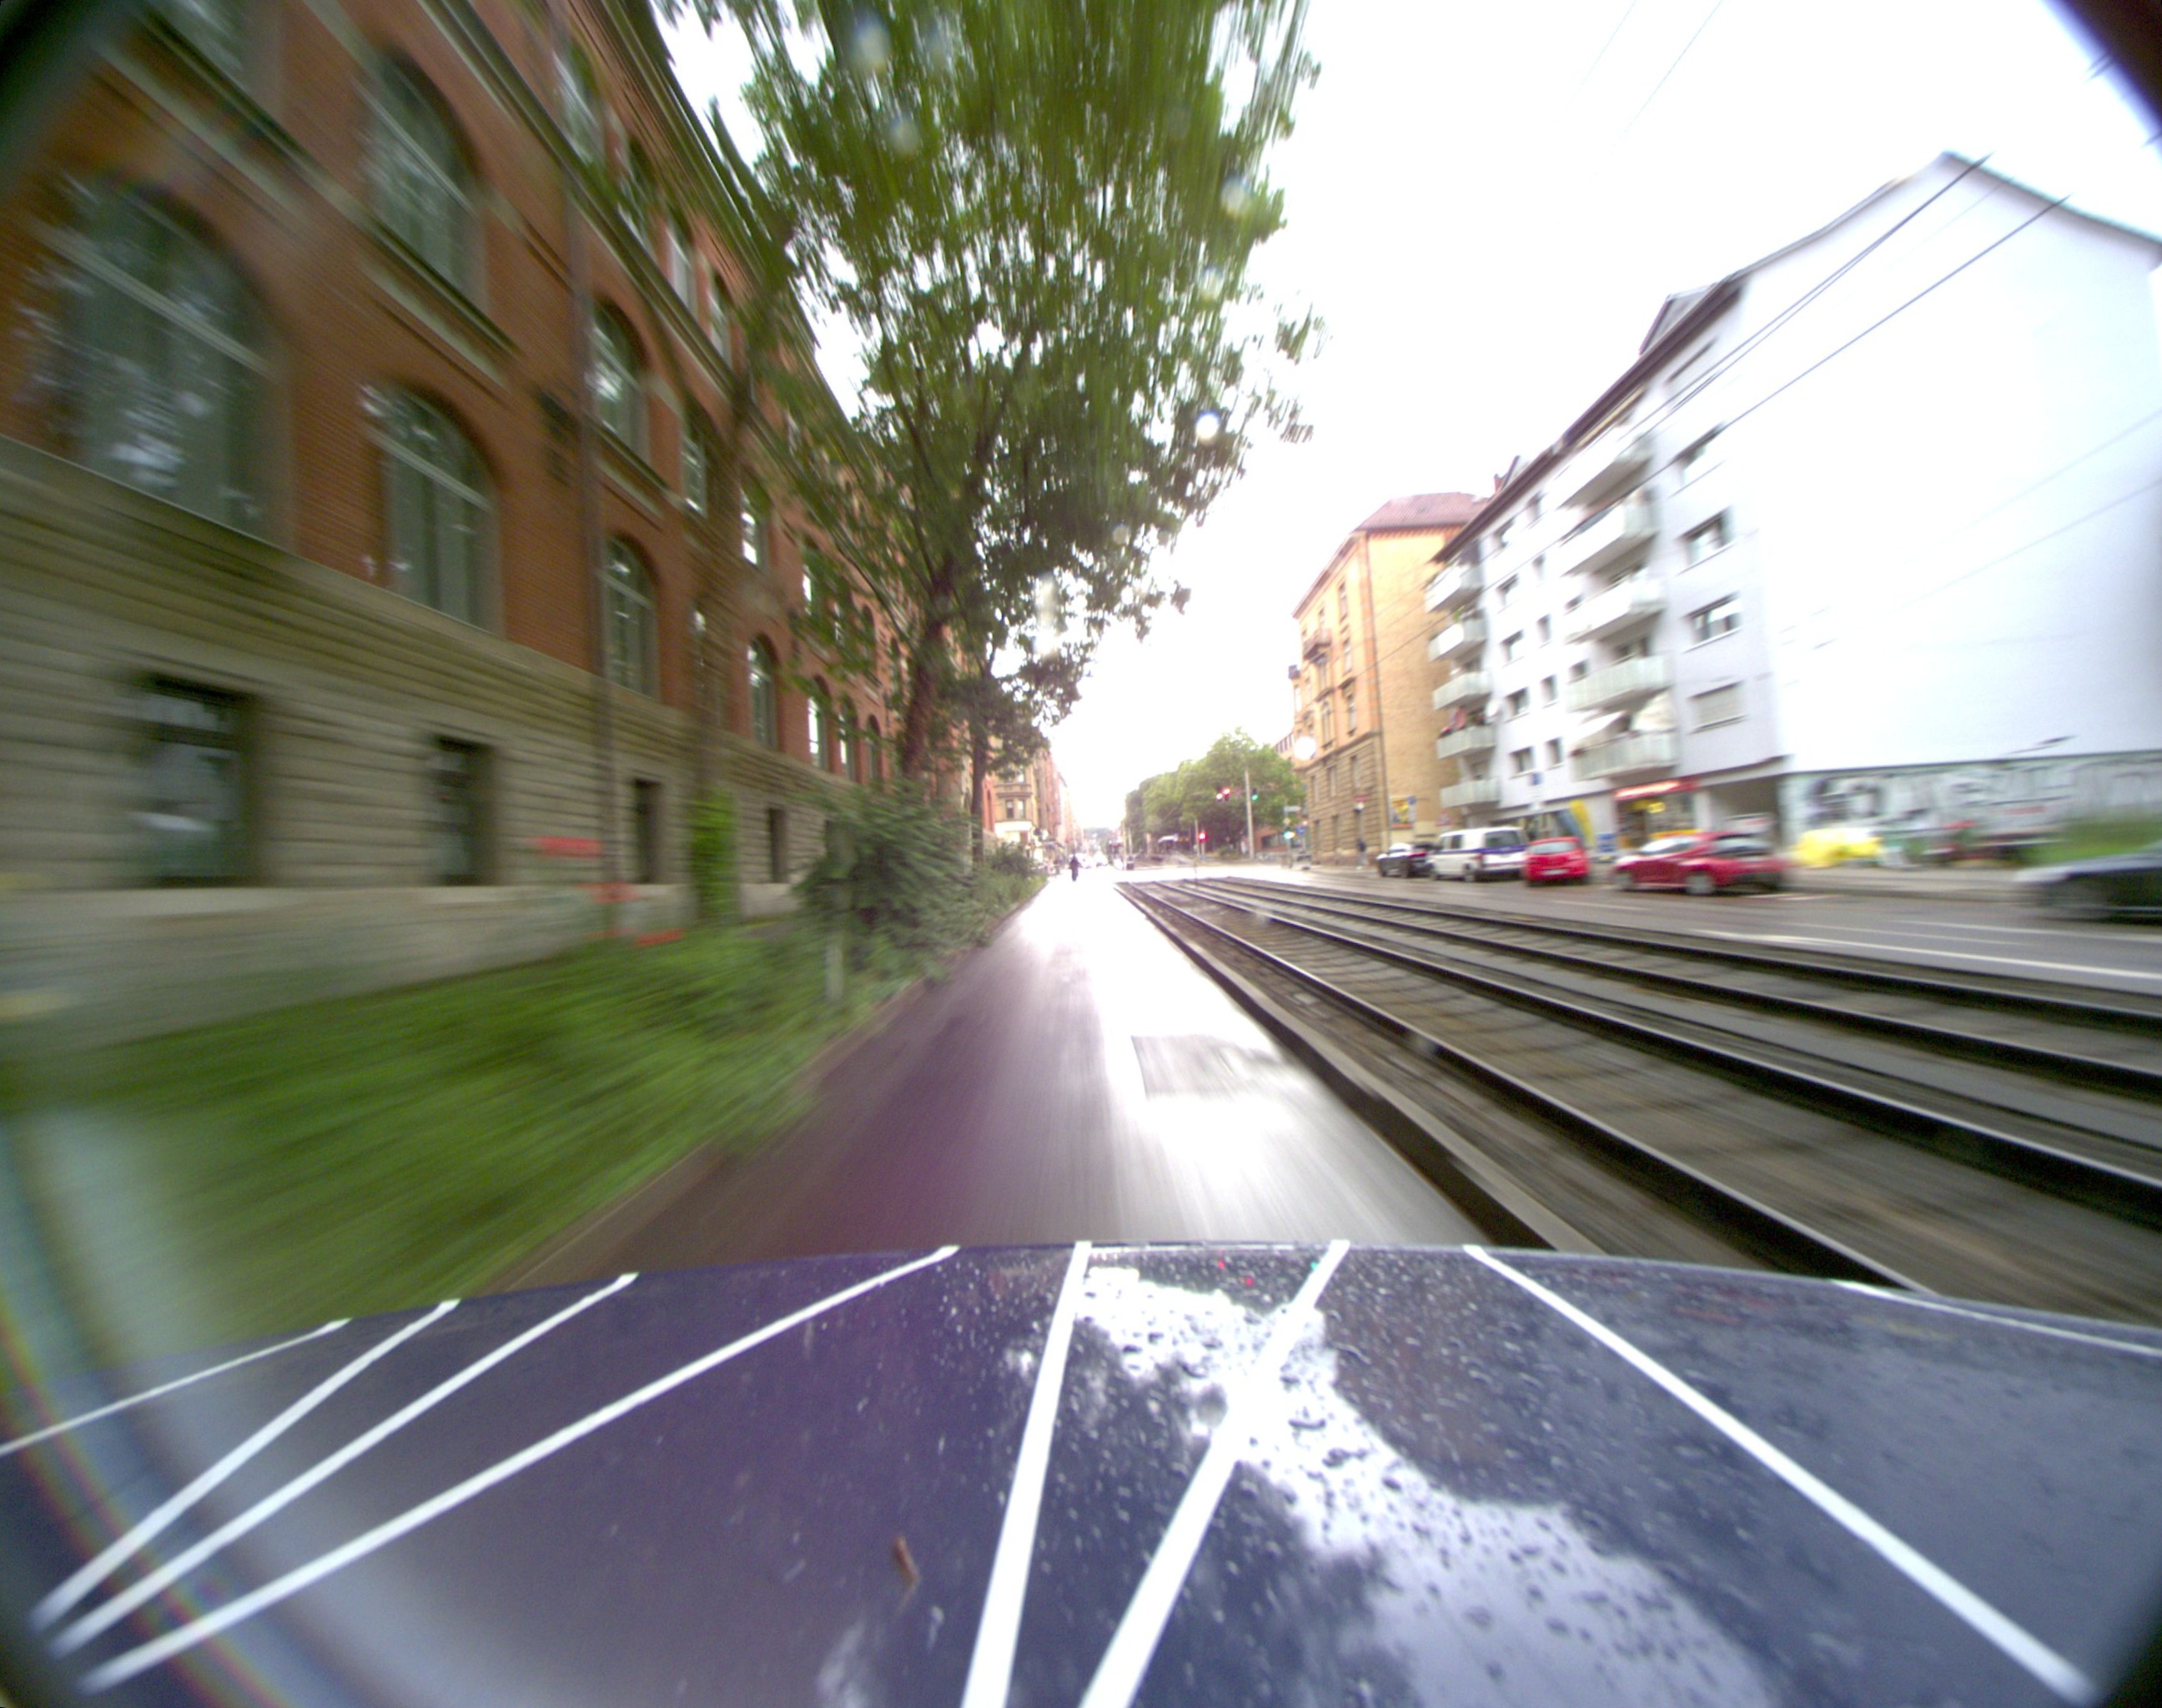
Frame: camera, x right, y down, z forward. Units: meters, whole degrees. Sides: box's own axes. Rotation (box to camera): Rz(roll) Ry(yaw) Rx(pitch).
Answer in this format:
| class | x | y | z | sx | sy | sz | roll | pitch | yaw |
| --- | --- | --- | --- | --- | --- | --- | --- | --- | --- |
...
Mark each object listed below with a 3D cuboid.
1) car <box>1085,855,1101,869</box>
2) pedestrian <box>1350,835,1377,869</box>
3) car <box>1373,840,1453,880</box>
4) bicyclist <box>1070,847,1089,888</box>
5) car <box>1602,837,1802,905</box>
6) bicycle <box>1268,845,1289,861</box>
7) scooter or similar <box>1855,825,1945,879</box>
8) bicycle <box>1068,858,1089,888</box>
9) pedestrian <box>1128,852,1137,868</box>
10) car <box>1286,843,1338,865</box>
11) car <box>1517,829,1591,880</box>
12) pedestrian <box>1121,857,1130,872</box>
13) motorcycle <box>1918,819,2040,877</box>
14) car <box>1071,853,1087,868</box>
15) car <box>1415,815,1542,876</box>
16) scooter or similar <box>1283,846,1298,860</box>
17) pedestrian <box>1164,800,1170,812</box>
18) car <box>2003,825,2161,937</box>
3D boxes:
| class | x | y | z | sx | sy | sz | roll | pitch | yaw |
| --- | --- | --- | --- | --- | --- | --- | --- | --- | --- |
| car | 1.475 | 0.967 | 95.415 | 1.884 | 1.439 | 3.999 | -3 | 1 | 0 |
| pedestrian | 16.502 | -0.119 | 44.419 | 1.174 | 1.918 | 1.178 | -3 | 1 | 4 |
| car | 15.179 | 0.226 | 35.038 | 1.737 | 1.641 | 4.363 | -3 | 1 | 0 |
| bicyclist | -0.098 | 0.729 | 42.724 | 0.920 | 2.250 | 1.287 | -2 | 2 | 3 |
| car | 15.047 | 0.332 | 18.734 | 1.657 | 1.443 | 4.073 | -2 | 1 | 1 |
| bicycle | 21.893 | -0.093 | 84.142 | 2.096 | 1.688 | 0.556 | -3 | 2 | -5 |
| scooter or similar | 19.653 | -0.062 | 18.285 | 0.623 | 1.193 | 1.896 | -5 | 0 | 21 |
| bicycle | -0.100 | 1.050 | 42.592 | 0.936 | 1.545 | 3.135 | -3 | 0 | 3 |
| pedestrian | 5.772 | 0.683 | 84.900 | 0.827 | 1.788 | 1.001 | -2 | 2 | -1 |
| car | 18.469 | -0.012 | 60.732 | 3.802 | 1.530 | 1.773 | -4 | 3 | -30 |
| car | 15.485 | -0.018 | 24.786 | 1.781 | 1.426 | 3.989 | -2 | 2 | 35 |
| pedestrian | 4.946 | 1.217 | 85.011 | 0.837 | 1.595 | 1.001 | -2 | 2 | -1 |
| motorcycle | 20.498 | -0.176 | 17.397 | 0.641 | 1.194 | 1.783 | -6 | 3 | 0 |
| car | -0.264 | 0.886 | 107.201 | 1.825 | 1.894 | 5.990 | -3 | 1 | 3 |
| car | 15.228 | -0.329 | 29.533 | 2.075 | 1.997 | 5.301 | -5 | 1 | 1 |
| scooter or similar | 22.697 | -0.119 | 82.288 | 1.507 | 1.363 | 0.452 | -3 | 2 | -16 |
| pedestrian | 15.100 | -8.376 | 133.361 | 0.837 | 2.051 | 0.884 | -2 | 2 | -3 |
| car | 14.691 | 0.352 | 9.098 | 1.684 | 1.388 | 4.621 | -2 | 1 | 0 |
